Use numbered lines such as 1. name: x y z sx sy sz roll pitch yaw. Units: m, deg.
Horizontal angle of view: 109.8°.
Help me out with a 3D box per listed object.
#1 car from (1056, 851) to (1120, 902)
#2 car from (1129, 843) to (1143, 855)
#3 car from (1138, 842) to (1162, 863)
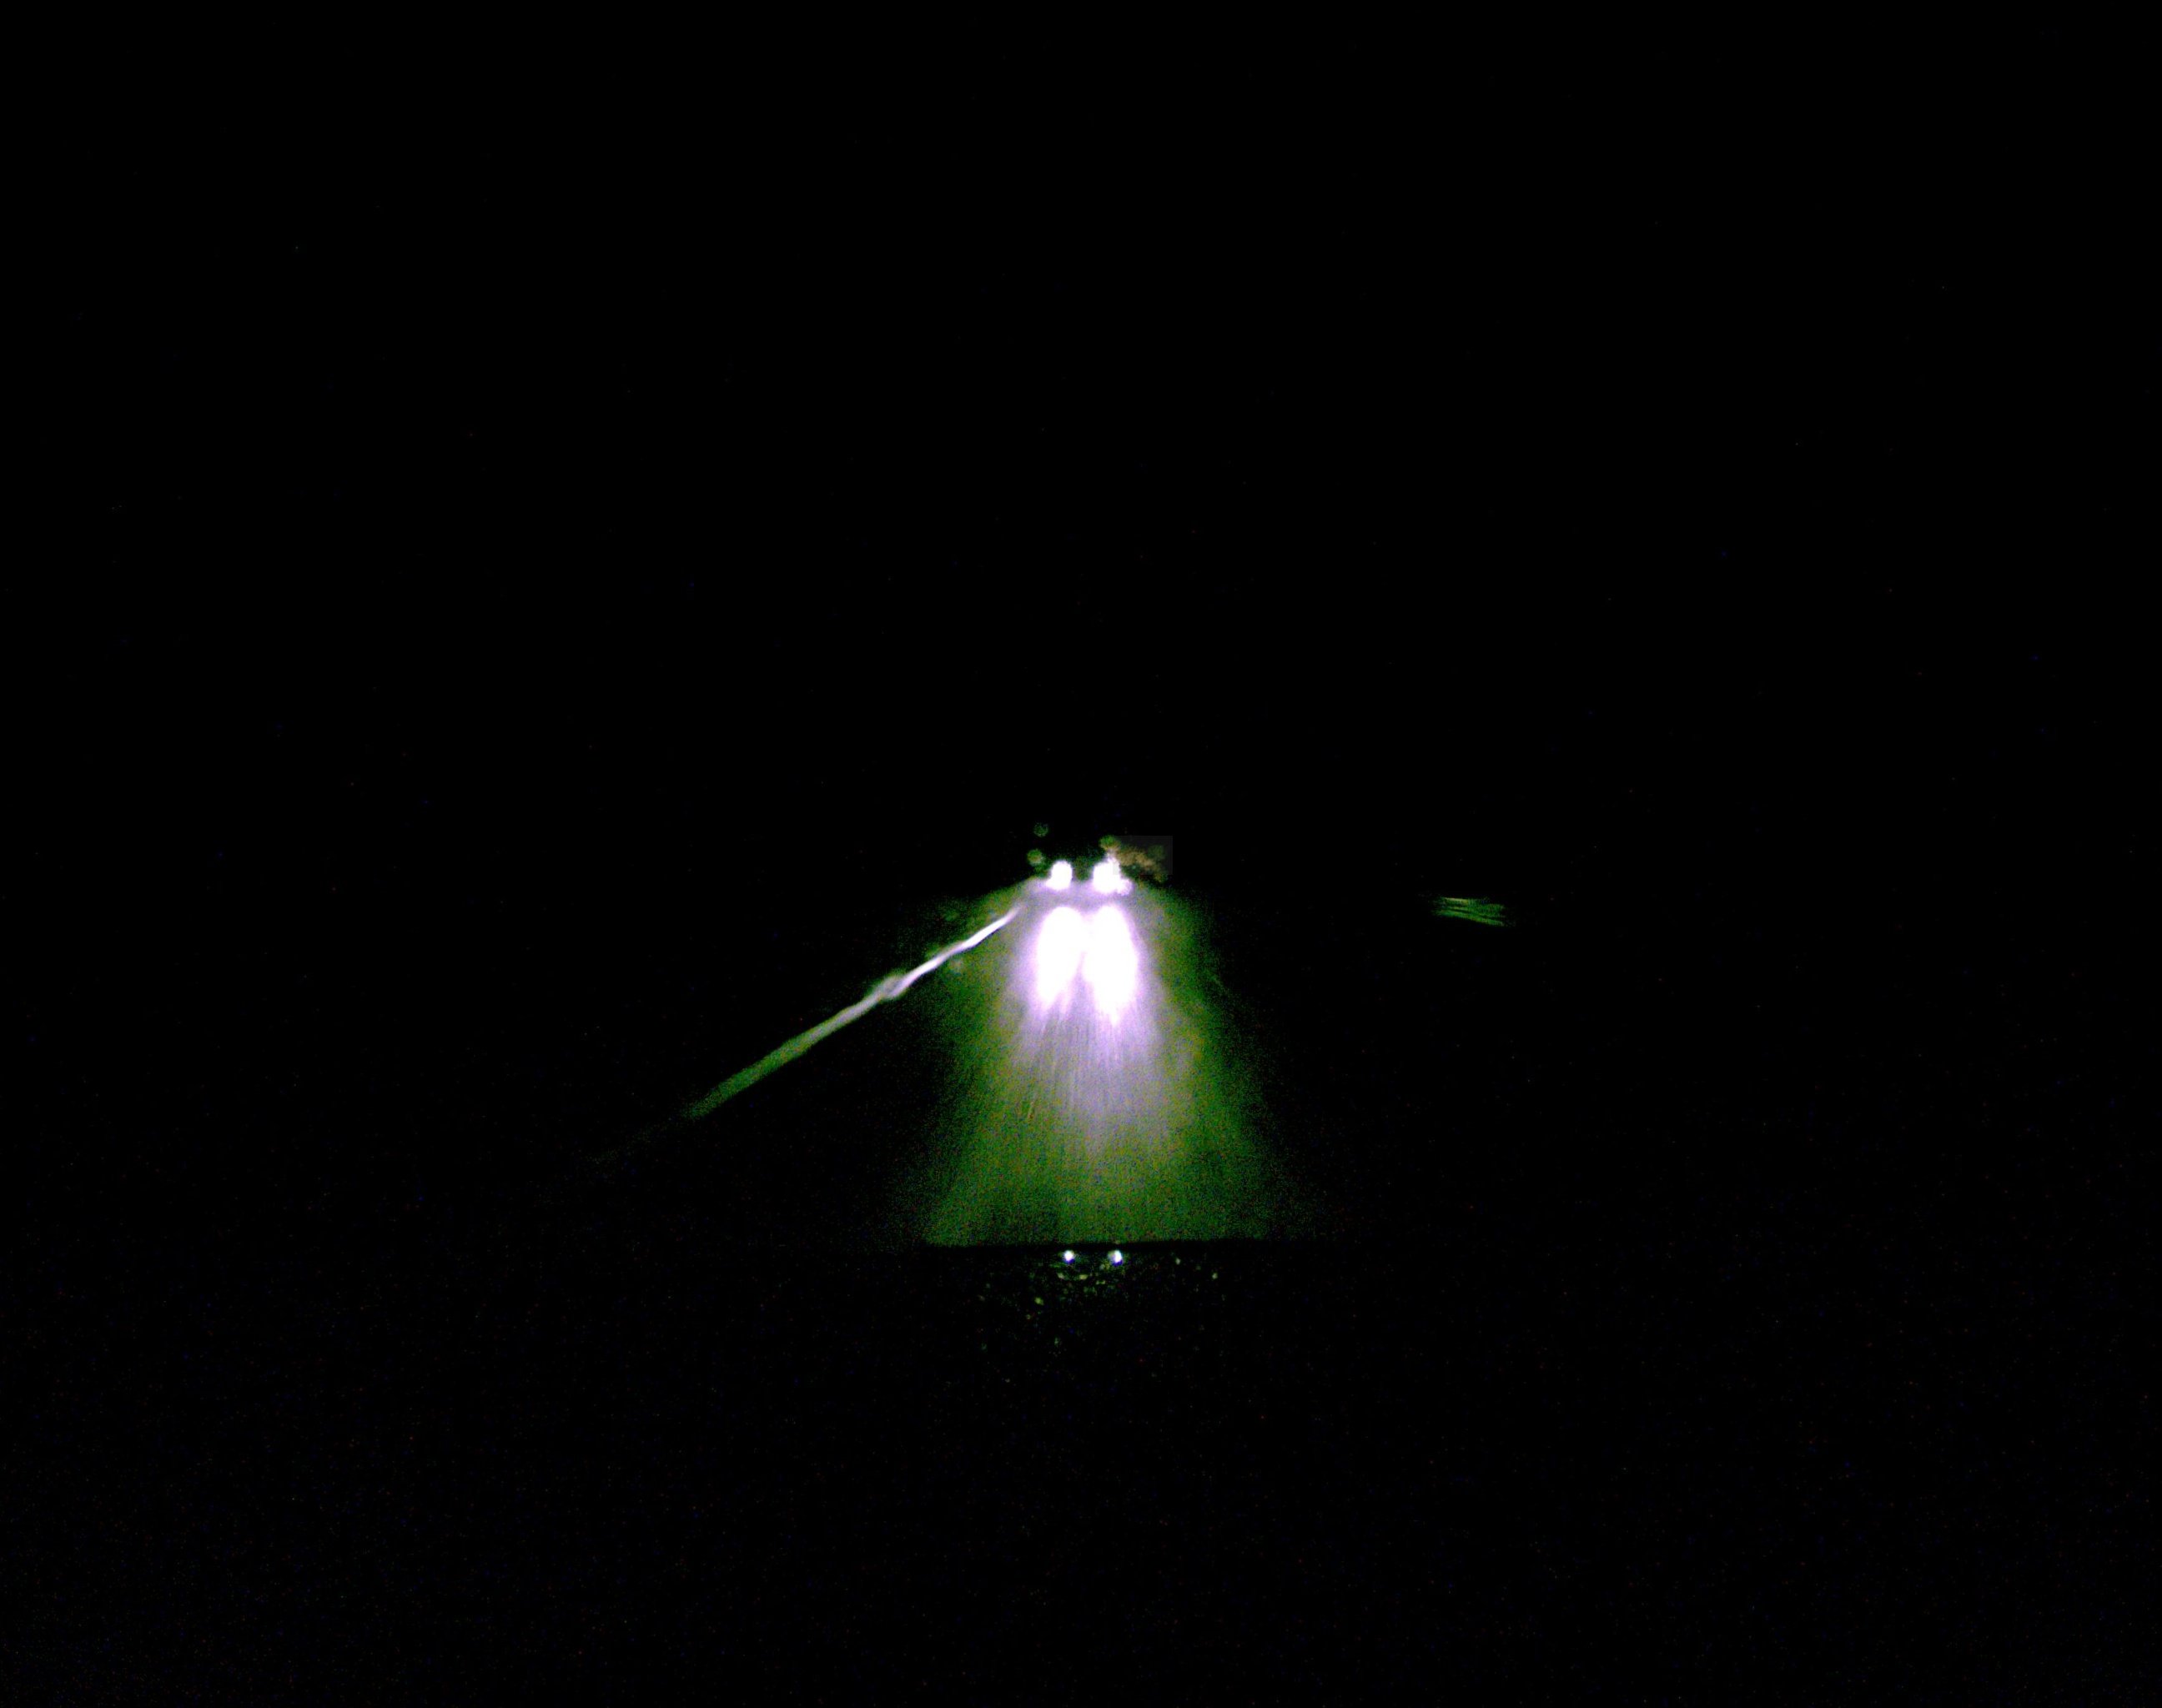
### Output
1. car: 0.327 0.718 26.330 1.792 1.593 4.001 -1 1 6
2. car: 8.207 -0.756 113.987 1.998 1.806 4.000 0 1 3
3. car: 6.201 -0.174 68.672 1.998 1.806 4.000 0 1 3
